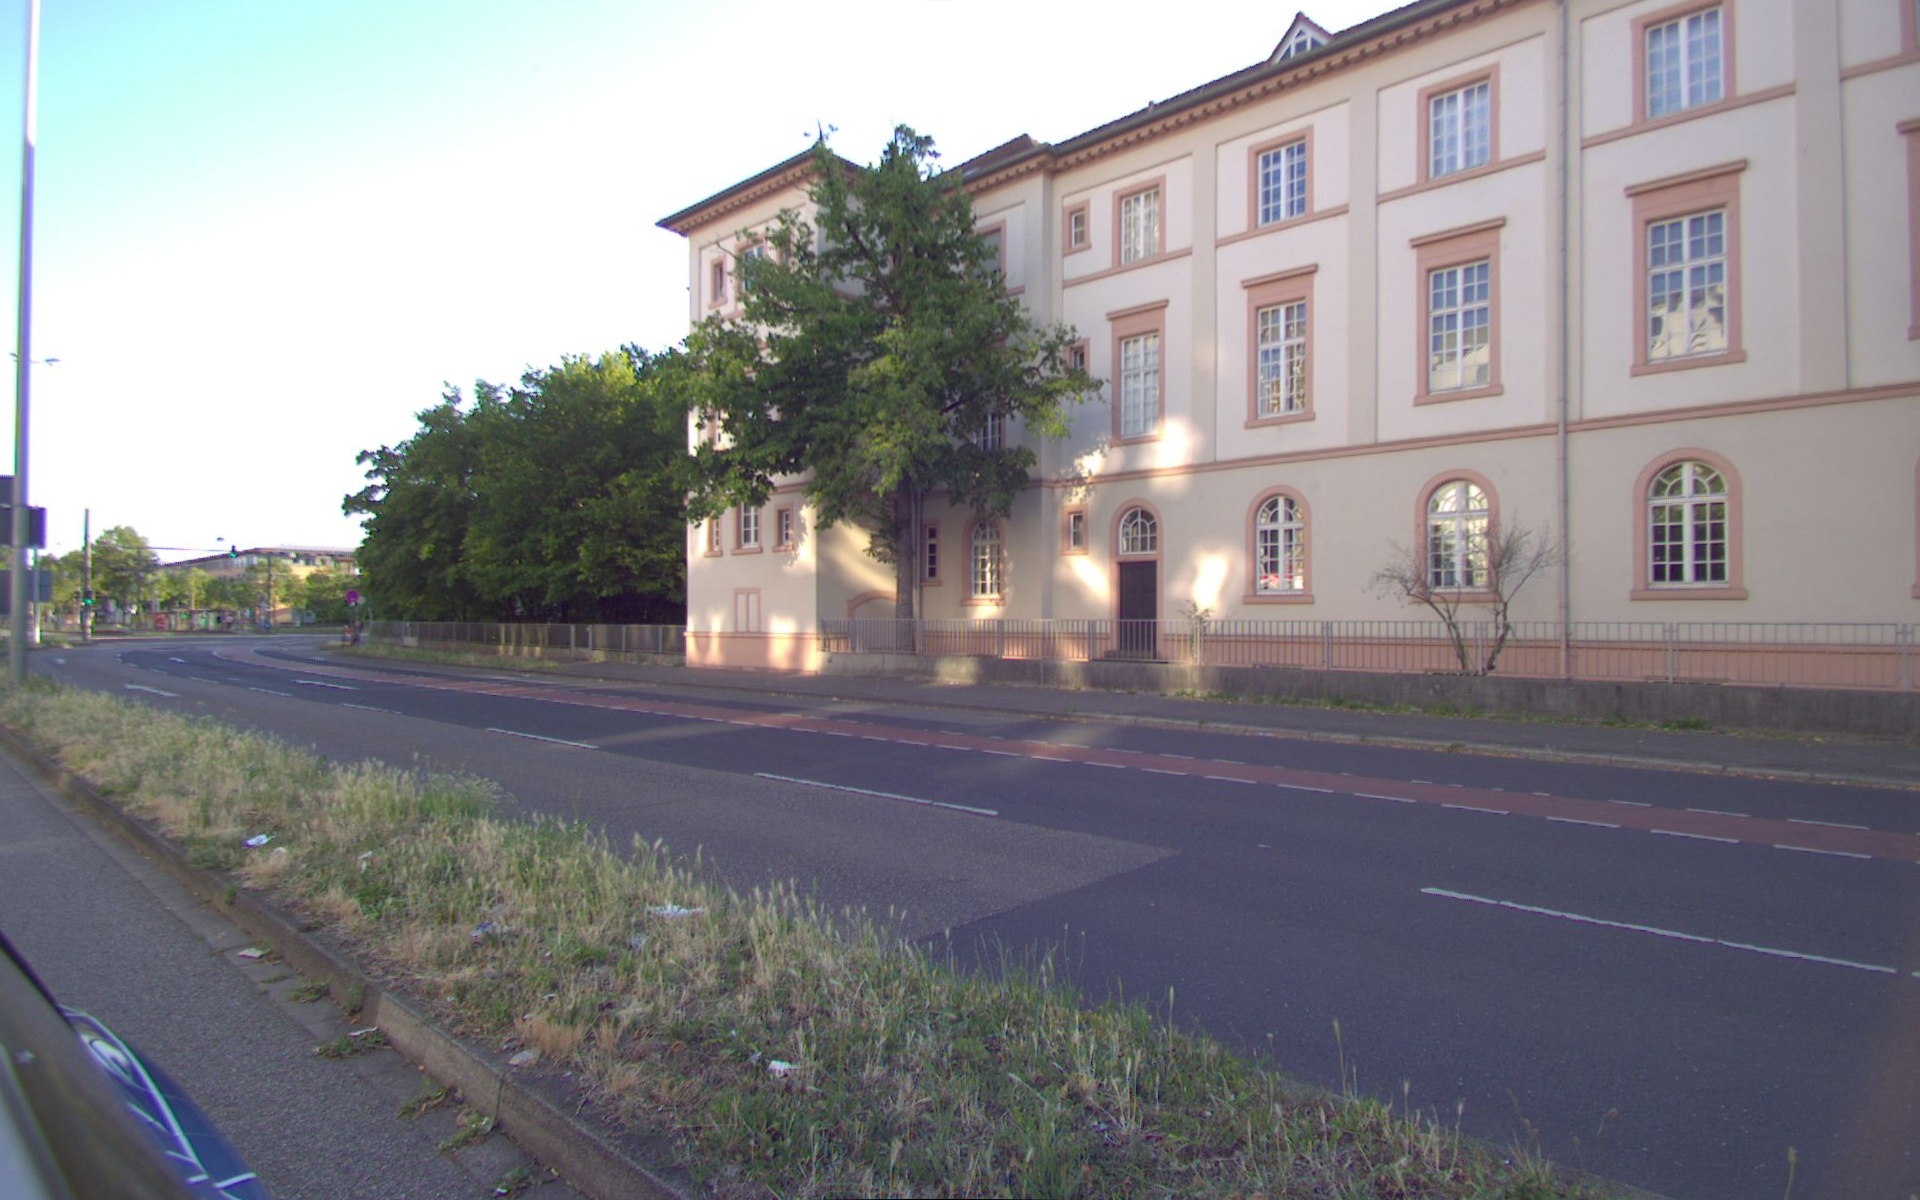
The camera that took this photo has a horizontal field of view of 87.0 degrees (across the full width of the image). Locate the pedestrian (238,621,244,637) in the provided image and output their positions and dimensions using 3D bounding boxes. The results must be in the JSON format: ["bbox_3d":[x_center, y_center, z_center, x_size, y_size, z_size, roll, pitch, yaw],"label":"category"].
[{"bbox_3d":[-81.442,3.270,114.595,0.419,1.718,0.461,-1,-2,41],"label":"pedestrian"}]

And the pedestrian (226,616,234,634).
[{"bbox_3d":[-83.959,2.862,116.421,0.664,2.029,0.549,-1,-2,41],"label":"pedestrian"}]
